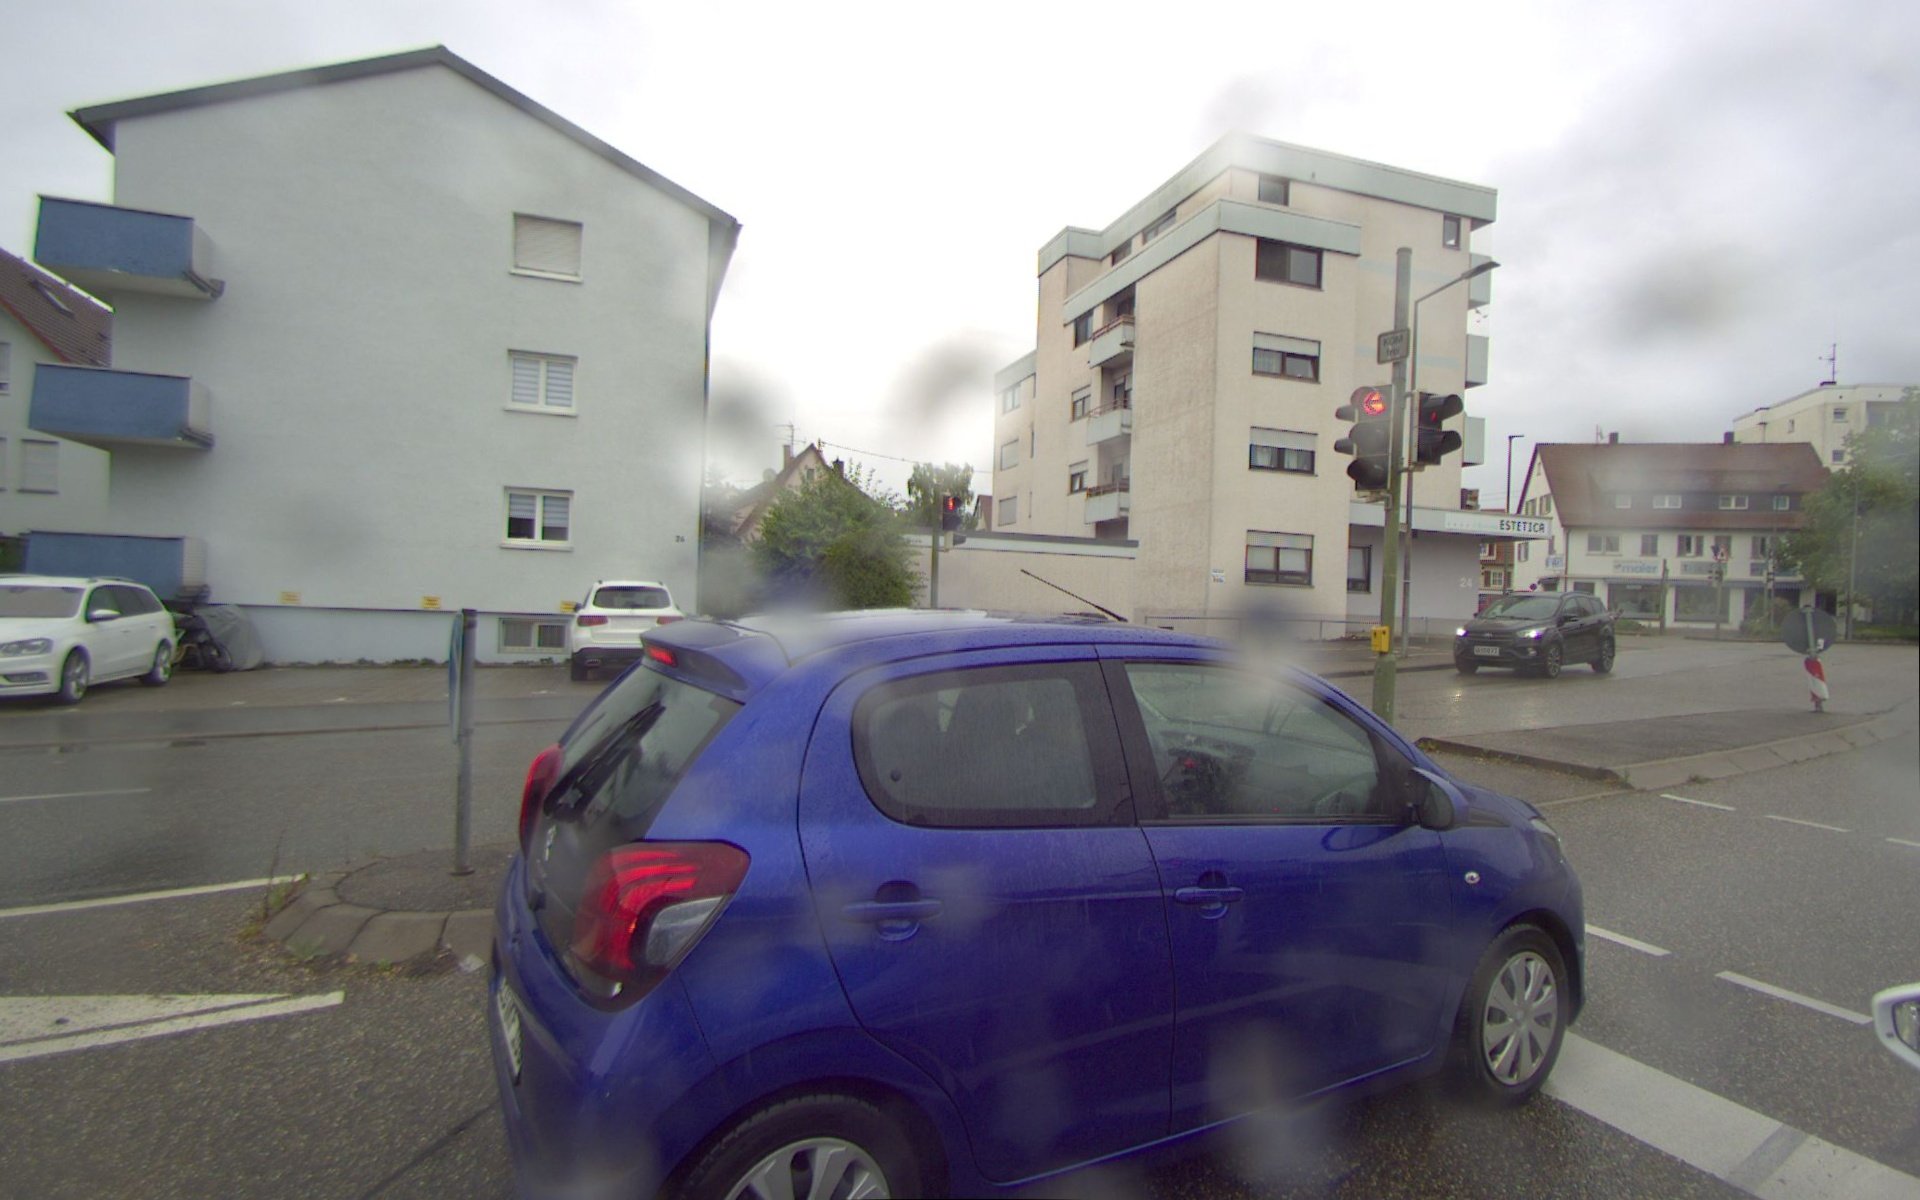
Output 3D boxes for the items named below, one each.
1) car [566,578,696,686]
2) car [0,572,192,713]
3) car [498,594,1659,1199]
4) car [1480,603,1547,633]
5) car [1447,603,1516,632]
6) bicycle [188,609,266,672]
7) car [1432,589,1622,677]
[{"bbox_3d":[-5.760,0.507,17.571,1.884,1.637,3.982,2,0,-19],"label":"car"},{"bbox_3d":[-11.477,0.453,12.501,1.854,1.480,4.732,1,-1,-23],"label":"car"},{"bbox_3d":[0.473,0.731,3.096,3.324,1.432,1.498,1,1,-30],"label":"car"},{"bbox_3d":[37.923,1.240,68.892,3.611,1.946,1.889,2,0,14],"label":"car"},{"bbox_3d":[37.215,1.246,71.723,3.987,1.868,1.889,2,0,14],"label":"car"},{"bbox_3d":[-12.691,0.686,17.416,1.053,1.067,0.345,0,1,-30],"label":"bicycle"},{"bbox_3d":[11.679,0.664,20.609,4.145,1.618,1.865,2,0,-37],"label":"car"}]
